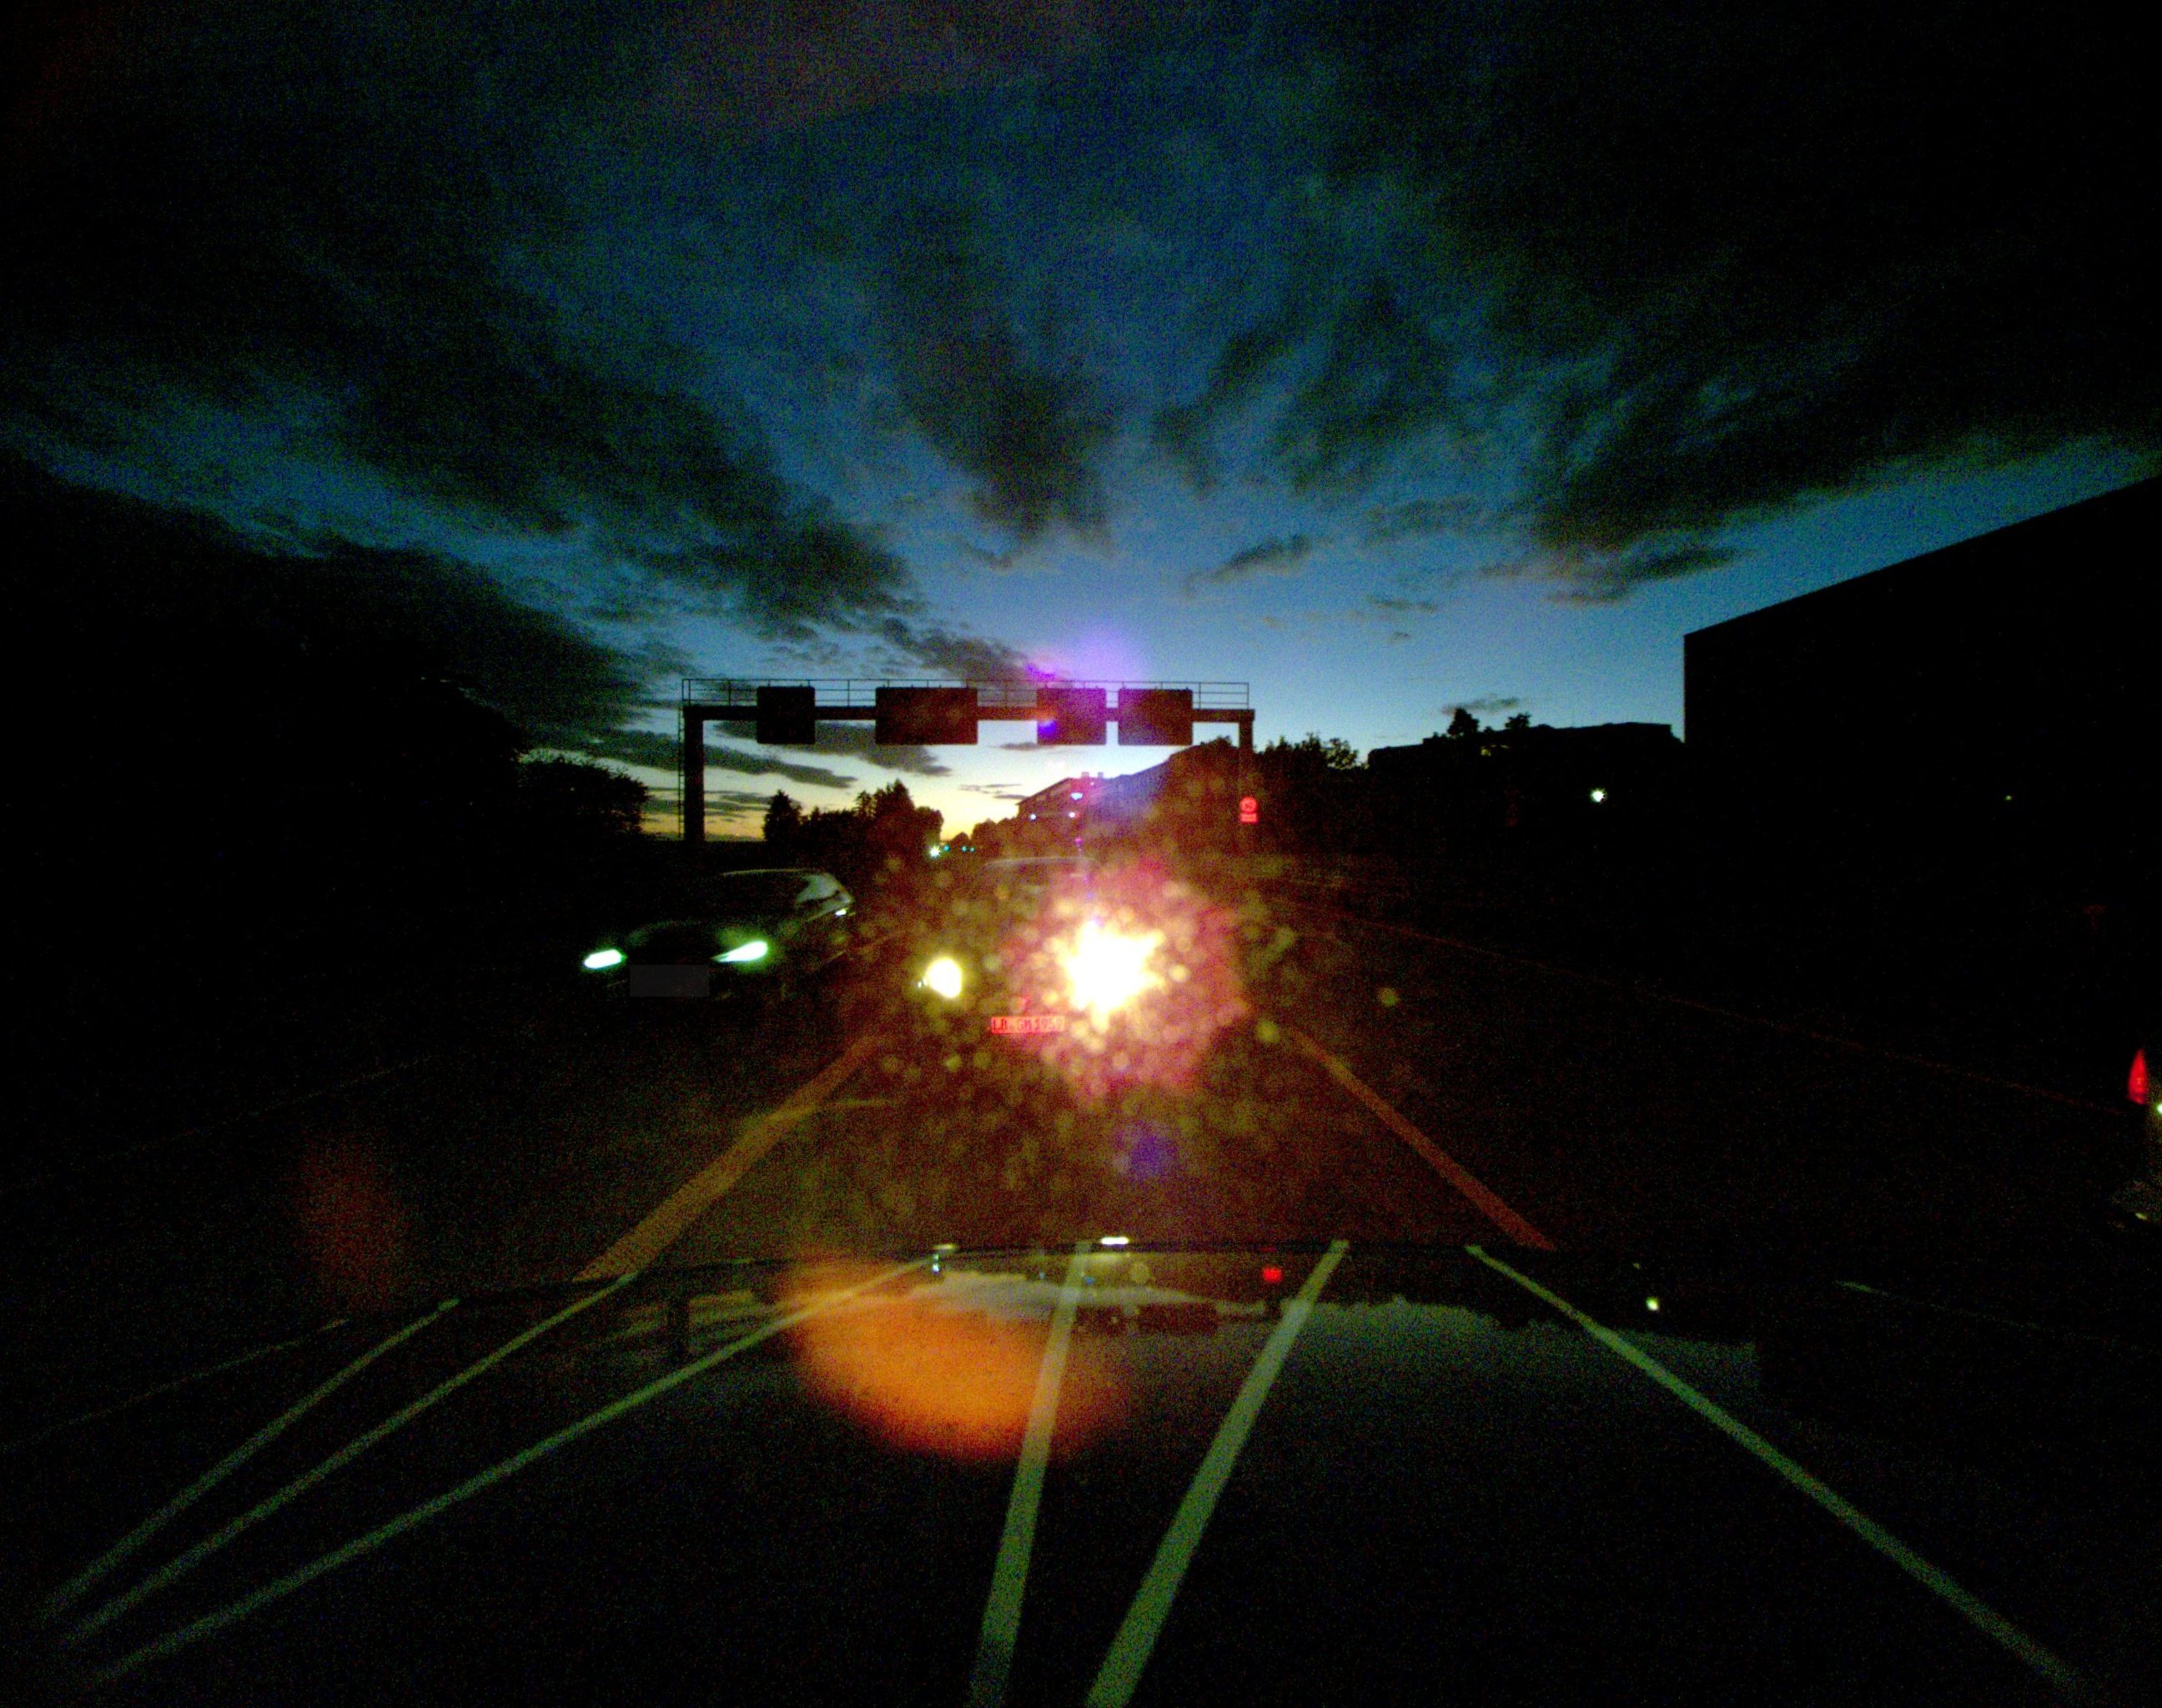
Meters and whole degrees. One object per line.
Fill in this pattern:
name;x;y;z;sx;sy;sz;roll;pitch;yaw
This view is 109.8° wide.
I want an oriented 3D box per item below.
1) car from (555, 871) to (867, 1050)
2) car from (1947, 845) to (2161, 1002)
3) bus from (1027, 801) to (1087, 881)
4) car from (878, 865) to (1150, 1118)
car;-4.003;1.016;9.212;1.795;1.435;4.532;-2;0;-4
car;10.925;0.643;6.817;1.761;1.435;4.111;-1;0;3
bus;-1.610;-0.669;43.036;2.615;3.768;12.269;-2;1;-5
car;-0.317;0.899;6.644;1.669;1.472;3.777;-2;0;3
